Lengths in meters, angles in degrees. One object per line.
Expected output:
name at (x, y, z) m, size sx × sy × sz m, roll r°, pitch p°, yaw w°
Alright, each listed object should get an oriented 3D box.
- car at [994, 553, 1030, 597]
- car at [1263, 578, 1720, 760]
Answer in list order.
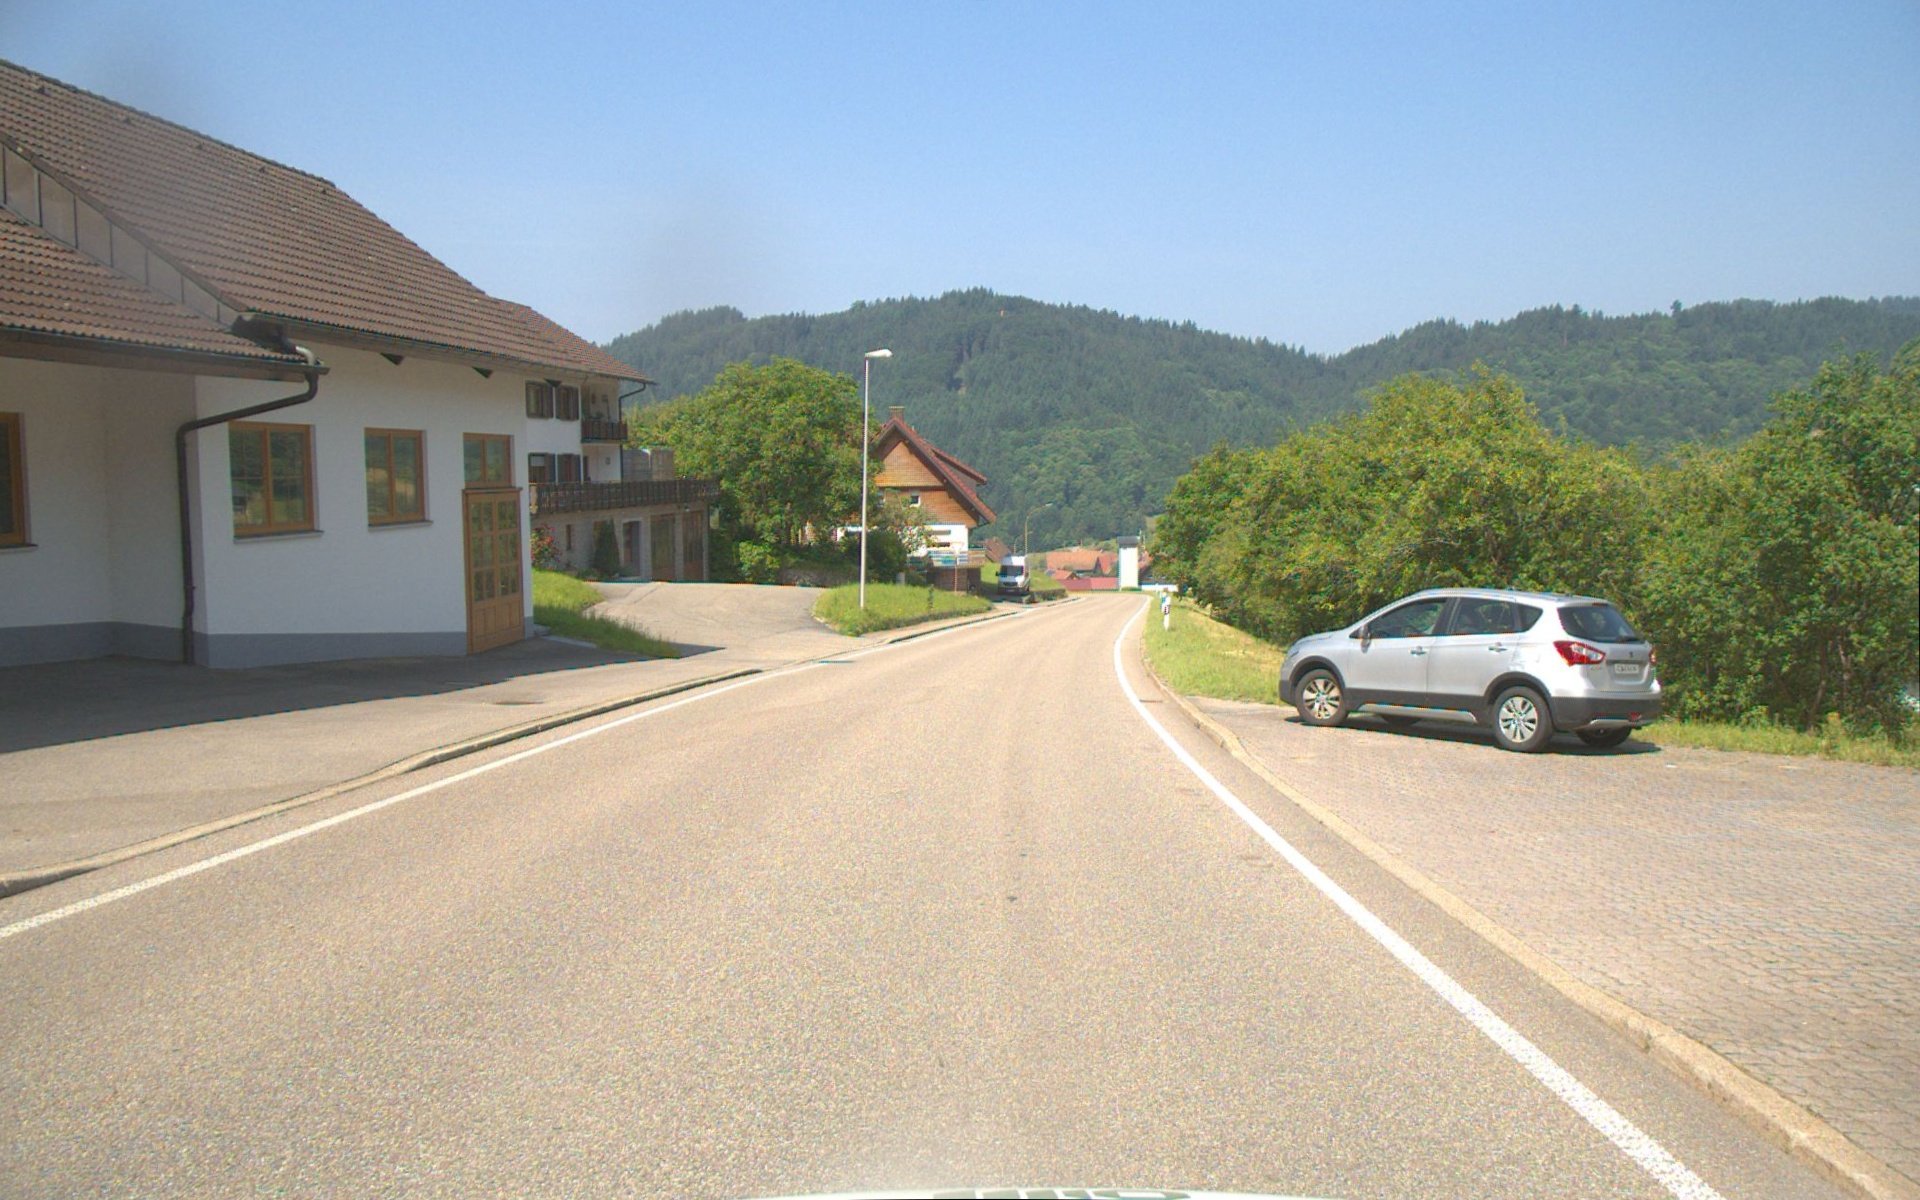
car at (3.772, -1.861, 119.508) m, size 2.023 × 2.734 × 7.182 m, roll -1°, pitch 4°, yaw 6°
car at (5.569, 0.629, 17.836) m, size 1.886 × 1.598 × 4.402 m, roll 1°, pitch 2°, yaw -38°
